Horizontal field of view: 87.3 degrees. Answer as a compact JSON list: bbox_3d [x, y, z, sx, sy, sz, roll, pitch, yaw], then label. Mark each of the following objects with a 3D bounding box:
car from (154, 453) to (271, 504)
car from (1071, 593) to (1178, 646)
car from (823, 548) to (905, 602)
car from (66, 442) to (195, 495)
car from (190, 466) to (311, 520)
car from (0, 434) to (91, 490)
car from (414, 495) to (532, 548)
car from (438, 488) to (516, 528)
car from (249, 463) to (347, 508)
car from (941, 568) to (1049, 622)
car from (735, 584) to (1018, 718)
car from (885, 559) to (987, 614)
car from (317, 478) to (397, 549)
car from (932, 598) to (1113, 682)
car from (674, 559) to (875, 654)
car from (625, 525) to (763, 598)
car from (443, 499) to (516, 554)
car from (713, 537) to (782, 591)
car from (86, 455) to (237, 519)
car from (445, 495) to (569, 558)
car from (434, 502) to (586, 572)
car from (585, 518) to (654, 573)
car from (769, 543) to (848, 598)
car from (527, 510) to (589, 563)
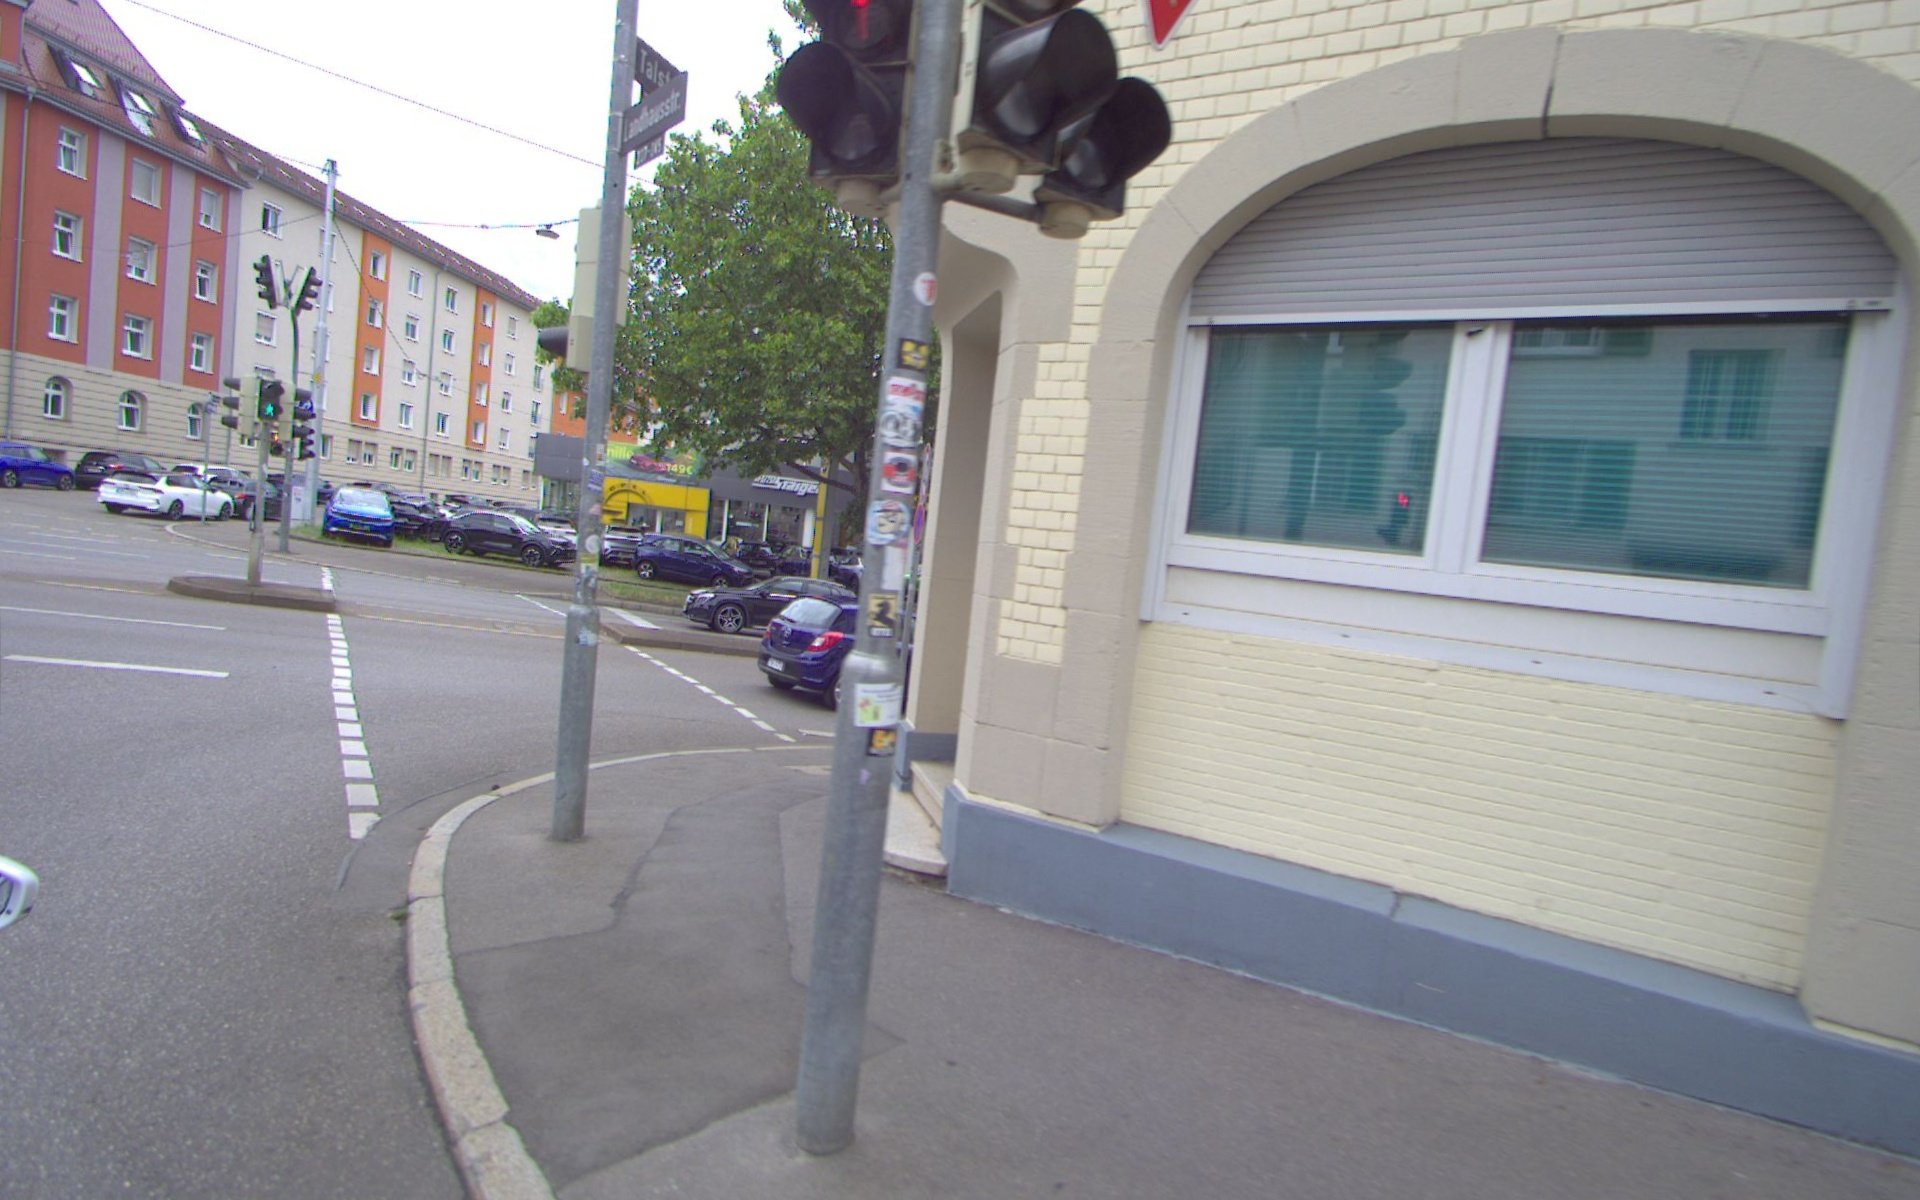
[{"bbox_3d":[-33.295,-5.381,44.944,1.883,1.654,4.136,9,3,2],"label":"car"},{"bbox_3d":[6.866,0.807,42.008,3.926,1.524,1.861,10,3,21],"label":"car"},{"bbox_3d":[-3.801,-1.006,39.305,1.840,1.570,3.971,7,3,-25],"label":"car"},{"bbox_3d":[-32.560,-5.122,39.665,1.886,1.555,4.129,9,3,-8],"label":"car"},{"bbox_3d":[-25.780,-3.838,36.718,1.887,1.555,4.127,9,3,-10],"label":"car"},{"bbox_3d":[-32.031,-4.735,34.050,1.886,1.555,4.129,9,3,-9],"label":"car"},{"bbox_3d":[-20.911,-3.362,43.311,4.046,1.555,1.790,9,4,-4],"label":"car"},{"bbox_3d":[-25.580,-4.846,53.415,1.883,1.667,4.135,9,3,1],"label":"car"},{"bbox_3d":[-32.763,-5.640,49.922,1.883,1.654,4.136,9,3,2],"label":"car"},{"bbox_3d":[1.407,-0.223,41.224,3.934,1.524,1.750,11,3,33],"label":"car"},{"bbox_3d":[-1.124,0.793,14.667,3.729,1.465,1.738,8,2,-44],"label":"car"},{"bbox_3d":[-0.964,-0.541,39.847,3.549,1.573,1.617,10,3,30],"label":"car"},{"bbox_3d":[-18.419,-2.695,30.840,1.811,1.598,4.220,8,4,-31],"label":"car"},{"bbox_3d":[1.655,1.059,26.613,4.203,1.545,1.988,8,1,-23],"label":"car"},{"bbox_3d":[-4.389,0.151,23.712,4.203,1.545,1.988,8,1,-23],"label":"car"},{"bbox_3d":[-9.088,-1.347,34.568,4.095,1.631,1.823,11,8,0],"label":"car"},{"bbox_3d":[-17.099,-2.662,35.962,1.838,1.570,3.977,8,3,-21],"label":"car"},{"bbox_3d":[-8.094,-1.414,38.099,1.838,1.570,3.977,8,3,-21],"label":"car"},{"bbox_3d":[-24.776,-3.463,31.424,1.888,1.555,4.126,9,3,-12],"label":"car"},{"bbox_3d":[-18.401,-2.999,41.036,4.179,1.804,1.706,9,4,-13],"label":"car"},{"bbox_3d":[-14.551,-2.025,32.667,3.928,1.496,1.827,11,3,1],"label":"car"},{"bbox_3d":[-12.650,-2.060,37.204,1.841,1.570,3.970,7,3,-26],"label":"car"},{"bbox_3d":[-5.913,-1.182,38.872,1.840,1.570,3.971,7,3,-25],"label":"car"},{"bbox_3d":[-14.838,-2.383,37.273,1.838,1.570,3.977,8,3,-21],"label":"car"}]
